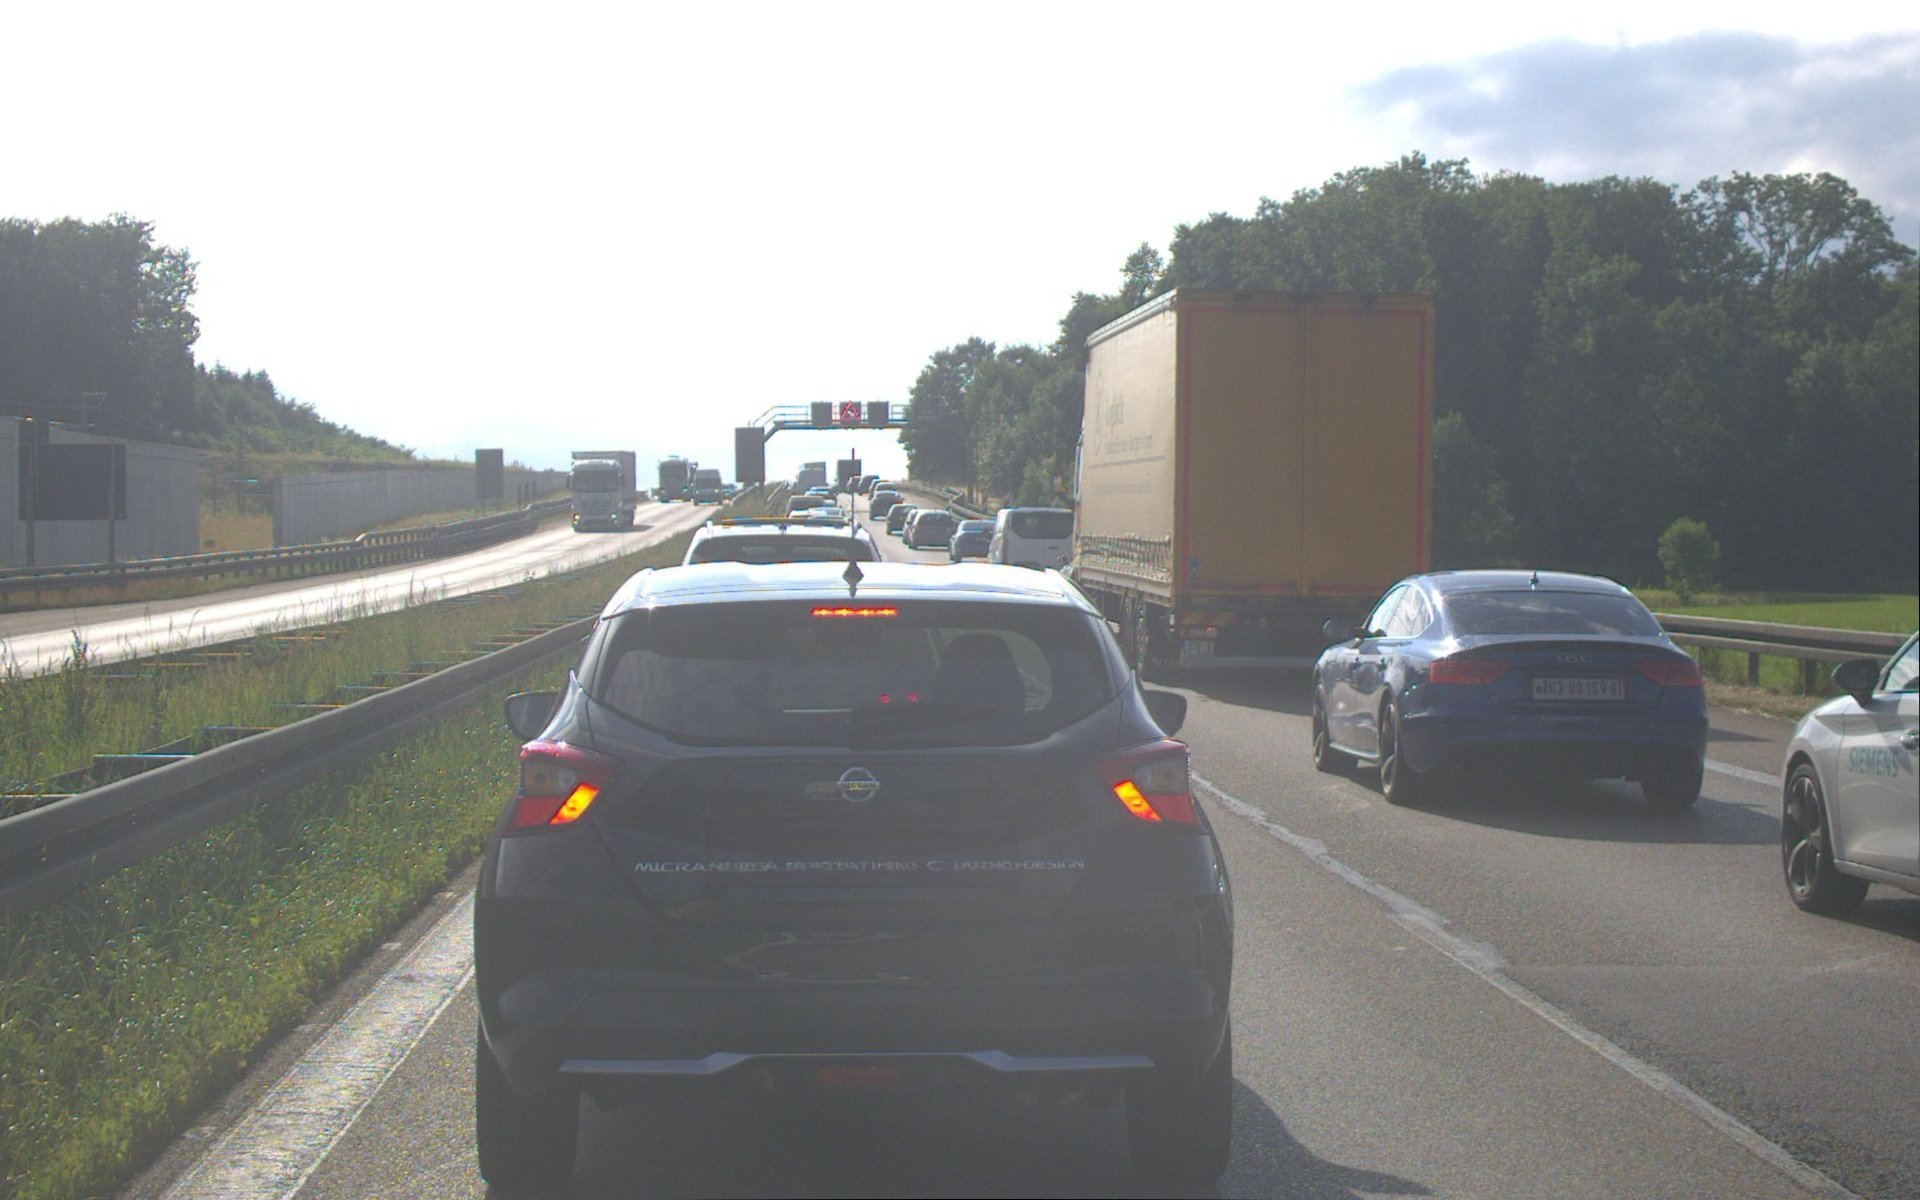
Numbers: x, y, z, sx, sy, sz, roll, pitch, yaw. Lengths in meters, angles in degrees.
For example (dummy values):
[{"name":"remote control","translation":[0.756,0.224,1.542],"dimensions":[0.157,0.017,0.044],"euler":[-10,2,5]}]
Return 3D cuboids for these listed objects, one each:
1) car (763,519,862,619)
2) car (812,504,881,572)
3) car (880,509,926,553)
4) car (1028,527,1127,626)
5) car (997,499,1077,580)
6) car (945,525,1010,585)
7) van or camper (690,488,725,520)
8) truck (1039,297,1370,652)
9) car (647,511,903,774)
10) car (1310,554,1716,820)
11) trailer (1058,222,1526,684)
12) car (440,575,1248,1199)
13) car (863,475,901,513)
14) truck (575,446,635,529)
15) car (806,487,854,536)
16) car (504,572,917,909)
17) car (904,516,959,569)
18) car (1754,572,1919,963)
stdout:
[{"name":"car","translation":[-3.104,-0.653,72.071],"dimensions":[1.993,2.007,4.001],"euler":[1,1,-3]},{"name":"car","translation":[-3.457,-1.873,104.346],"dimensions":[1.993,2.007,4.001],"euler":[1,1,-3]},{"name":"car","translation":[-2.683,-3.203,160.298],"dimensions":[1.993,2.007,4.001],"euler":[1,1,-3]},{"name":"car","translation":[2.152,-0.442,63.637],"dimensions":[1.667,1.748,3.327],"euler":[1,1,-1]},{"name":"car","translation":[1.708,-1.339,76.974],"dimensions":[1.667,1.748,3.327],"euler":[1,1,-1]},{"name":"car","translation":[0.575,-1.548,118.053],"dimensions":[1.993,2.007,4.001],"euler":[1,1,-3]},{"name":"van or camper","translation":[-18.784,-7.155,256.230],"dimensions":[2.166,2.198,6.259],"euler":[1,1,-1]},{"name":"truck","translation":[3.125,-1.594,46.217],"dimensions":[3.581,4.364,6.689],"euler":[1,1,-3]},{"name":"car","translation":[-1.259,0.264,24.512],"dimensions":[1.674,1.720,3.596],"euler":[1,0,-1]},{"name":"car","translation":[3.300,0.468,21.278],"dimensions":[1.747,1.470,4.147],"euler":[1,0,-1]},{"name":"trailer","translation":[3.417,-1.491,39.831],"dimensions":[3.548,4.442,12.723],"euler":[1,1,-3]},{"name":"car","translation":[-0.268,0.659,9.033],"dimensions":[1.710,1.421,3.378],"euler":[1,0,-1]},{"name":"car","translation":[-4.350,-5.878,190.760],"dimensions":[1.993,2.007,4.001],"euler":[1,1,-3]},{"name":"truck","translation":[-18.257,-5.752,177.016],"dimensions":[2.637,4.084,7.003],"euler":[1,1,-3]},{"name":"car","translation":[-5.641,-3.799,148.489],"dimensions":[1.993,2.007,4.001],"euler":[1,1,-3]},{"name":"car","translation":[-1.060,0.561,15.867],"dimensions":[1.674,1.362,3.596],"euler":[1,0,-1]},{"name":"car","translation":[-1.155,-2.263,136.132],"dimensions":[1.993,2.007,4.001],"euler":[1,1,-3]},{"name":"car","translation":[4.355,0.628,12.730],"dimensions":[1.620,1.440,4.147],"euler":[1,0,-4]}]
